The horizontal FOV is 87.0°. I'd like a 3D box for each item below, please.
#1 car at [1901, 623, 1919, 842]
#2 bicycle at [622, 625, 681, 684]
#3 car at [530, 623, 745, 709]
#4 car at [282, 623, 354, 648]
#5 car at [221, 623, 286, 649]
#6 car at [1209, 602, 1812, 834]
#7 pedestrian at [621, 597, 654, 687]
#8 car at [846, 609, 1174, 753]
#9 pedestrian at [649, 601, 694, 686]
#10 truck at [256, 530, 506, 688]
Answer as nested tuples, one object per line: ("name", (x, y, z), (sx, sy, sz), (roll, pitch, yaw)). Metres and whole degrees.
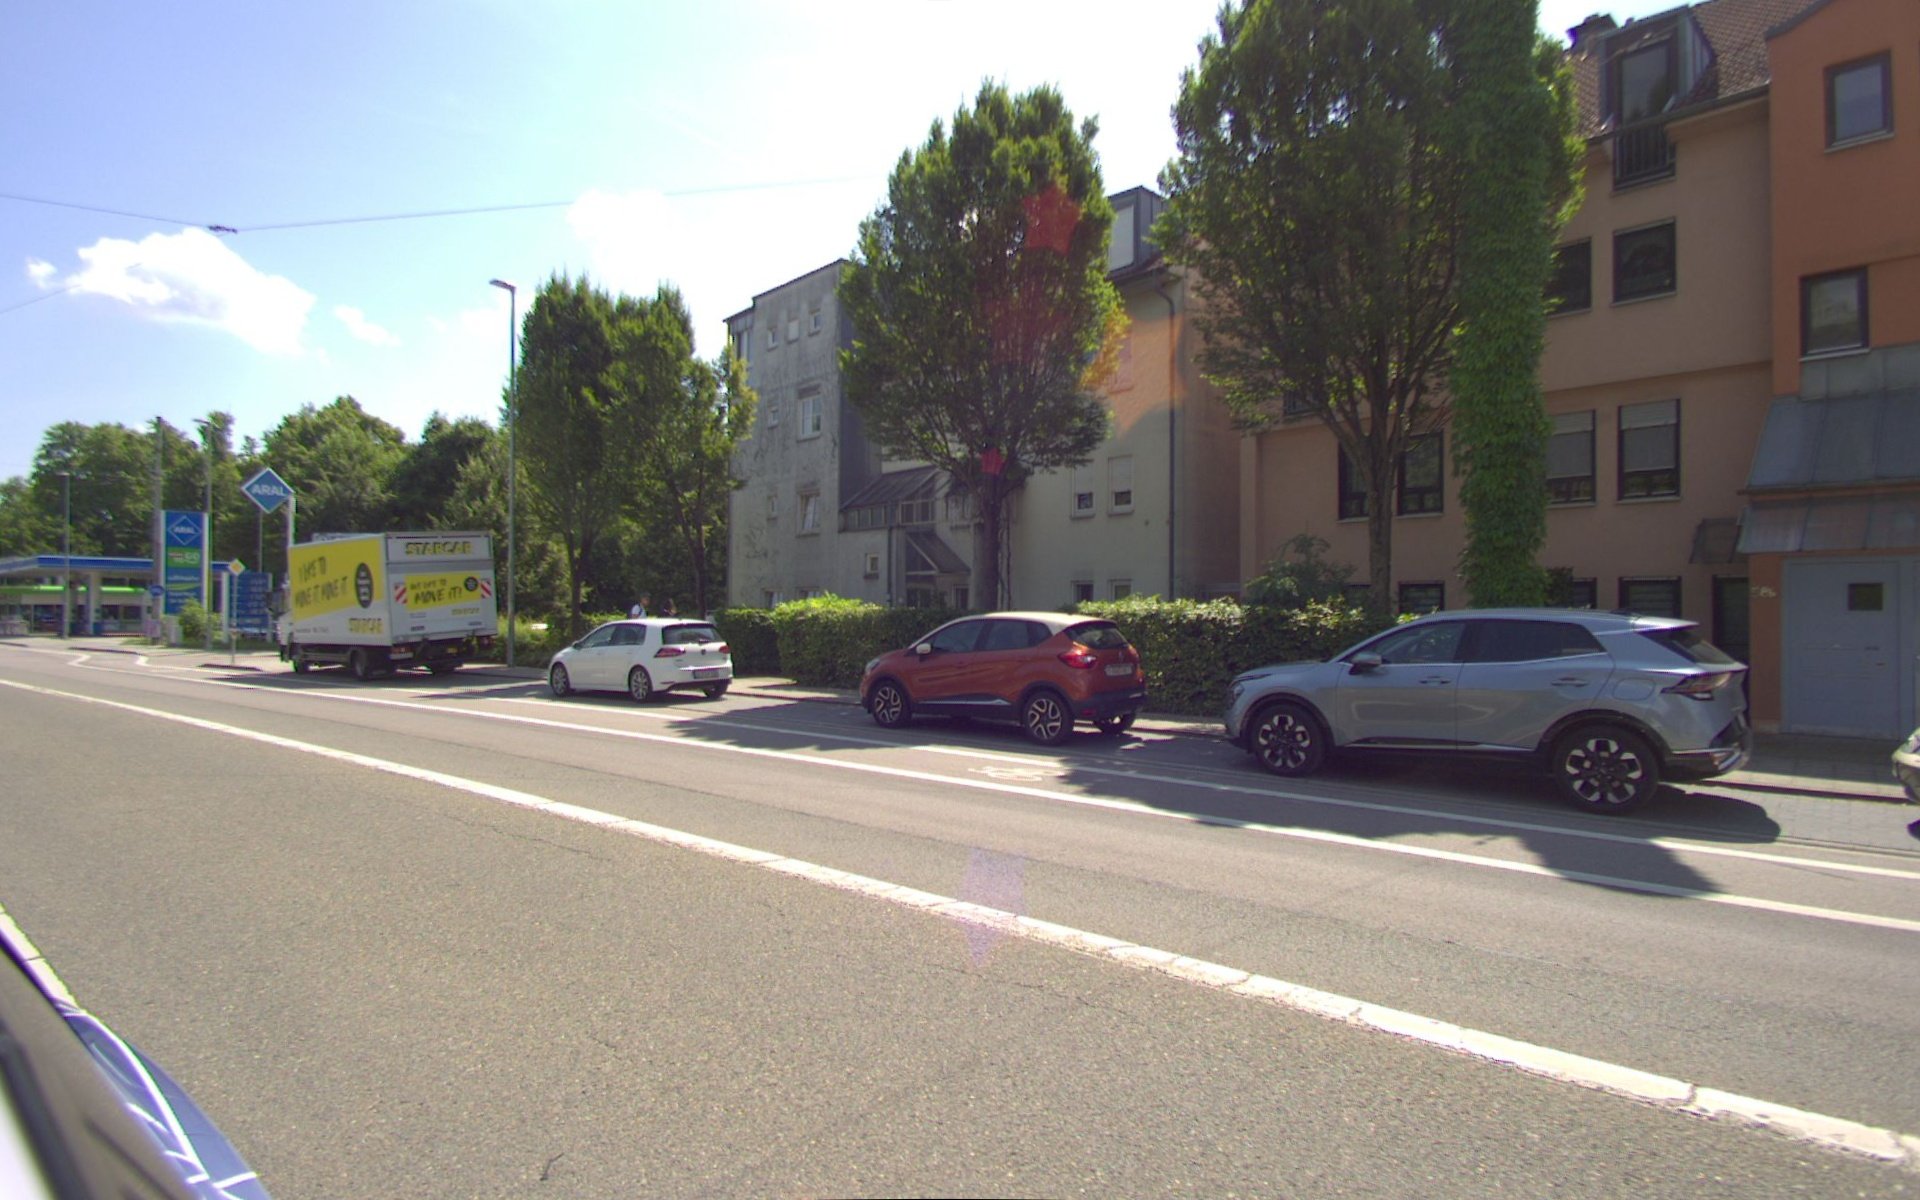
("car", (8.963, 0.889, 5.998), (4.895, 1.520, 1.638), (-1, -2, 42))
("bicycle", (-7.080, 1.232, 23.206), (1.664, 1.326, 0.451), (-1, -2, 40))
("car", (-6.052, 1.146, 18.754), (4.391, 1.421, 1.639), (-1, -2, 39))
("car", (-42.101, 2.305, 66.390), (3.932, 1.556, 1.824), (1, -2, -33))
("car", (-37.719, 1.895, 54.022), (3.995, 1.347, 1.796), (-1, -2, 39))
("car", (4.859, 0.892, 9.449), (4.686, 1.621, 1.638), (-1, 0, 42))
("pedestrian", (-7.130, 0.922, 22.373), (0.633, 1.937, 0.711), (1, -2, -21))
("car", (0.555, 0.938, 13.336), (4.169, 1.621, 1.639), (-1, -1, 39))
("pedestrian", (-6.235, 0.934, 21.918), (0.697, 1.808, 0.681), (0, -2, 12))
("truck", (-15.326, 0.236, 26.464), (8.160, 3.575, 2.804), (-1, 1, 39))
